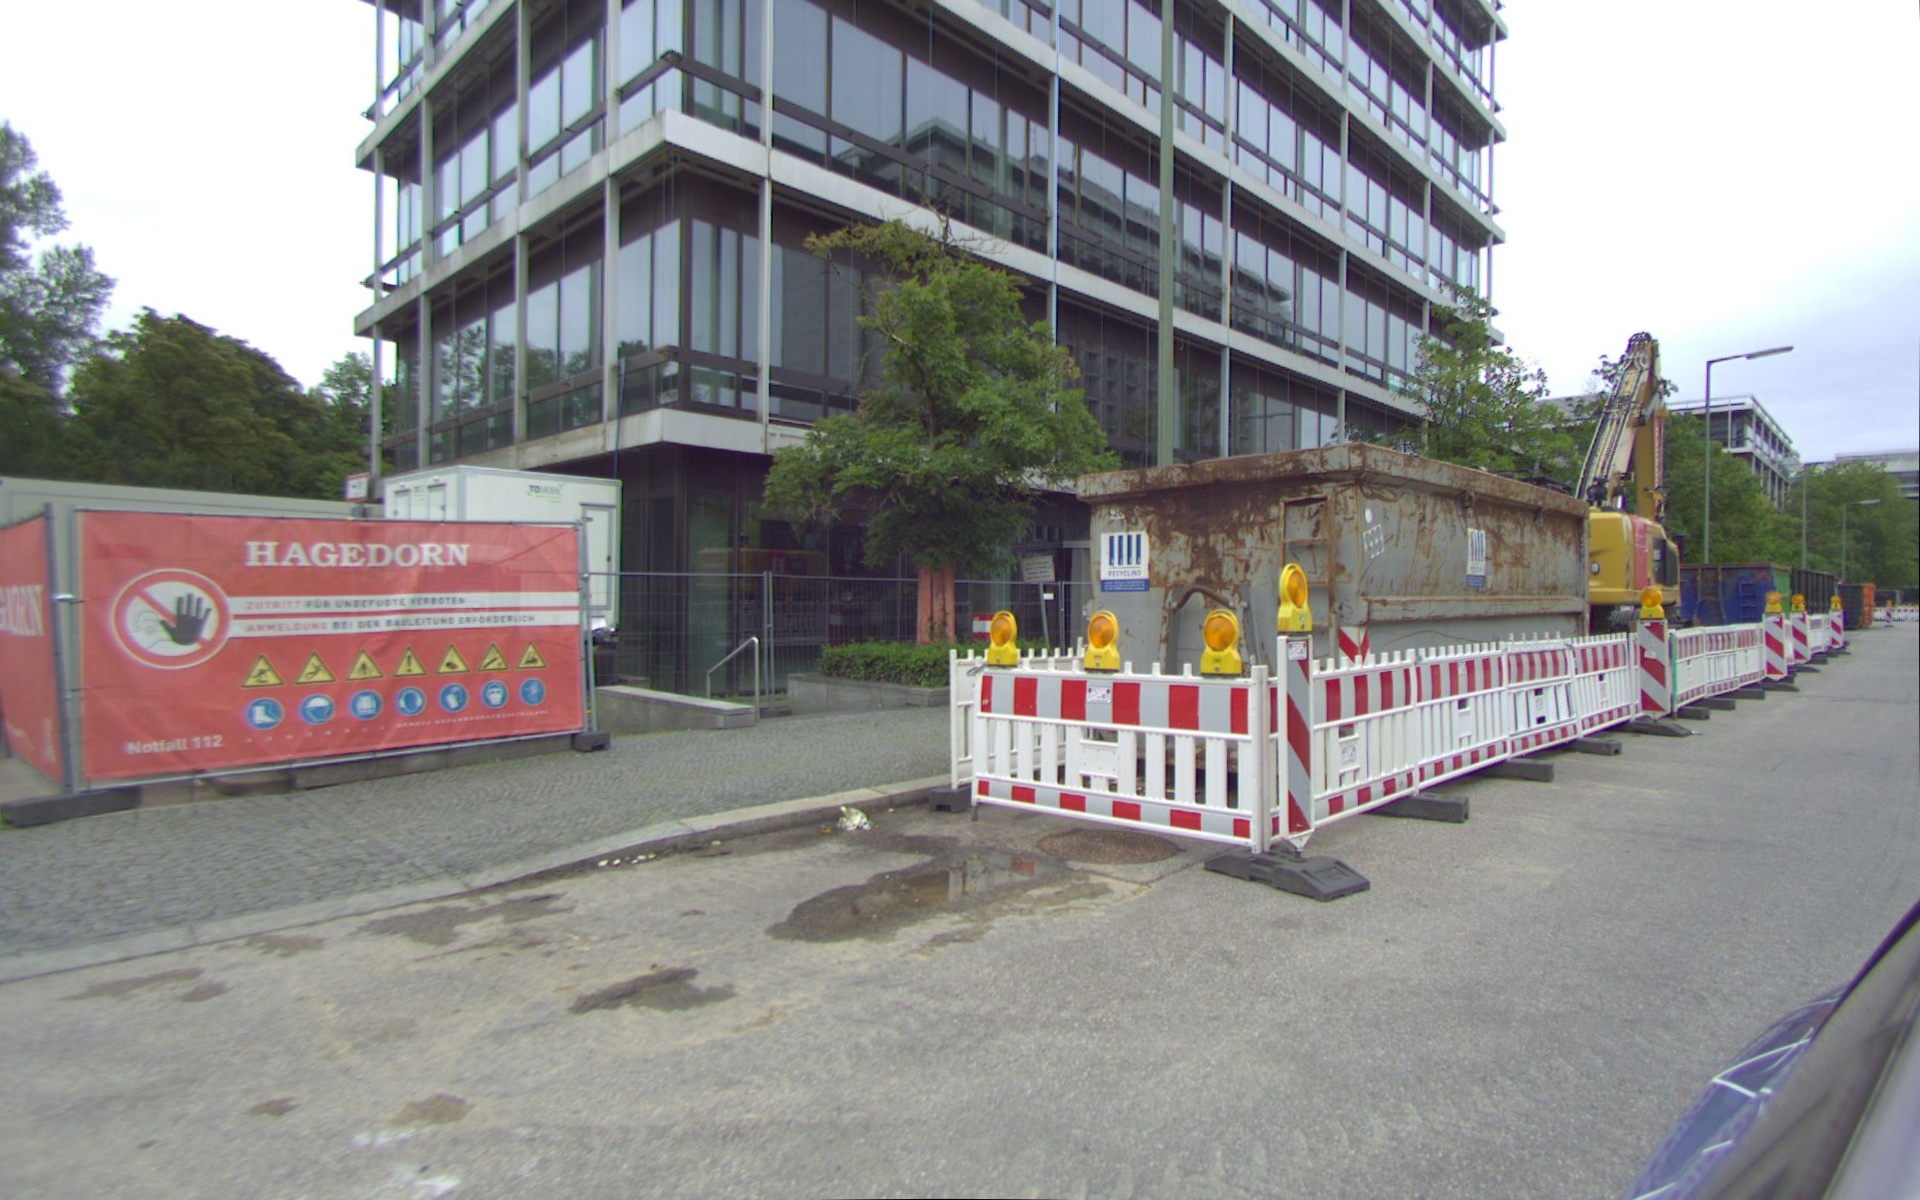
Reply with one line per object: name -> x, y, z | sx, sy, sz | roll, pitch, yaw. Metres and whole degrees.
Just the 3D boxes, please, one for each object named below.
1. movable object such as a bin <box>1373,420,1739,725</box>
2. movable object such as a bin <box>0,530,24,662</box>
movable object such as a bin -> 10.271, -0.396, 16.823 | 3.242, 3.763, 8.864 | 0, 1, 44
movable object such as a bin -> -25.300, -0.112, 25.262 | 2.756, 3.141, 5.066 | 0, 0, -43
